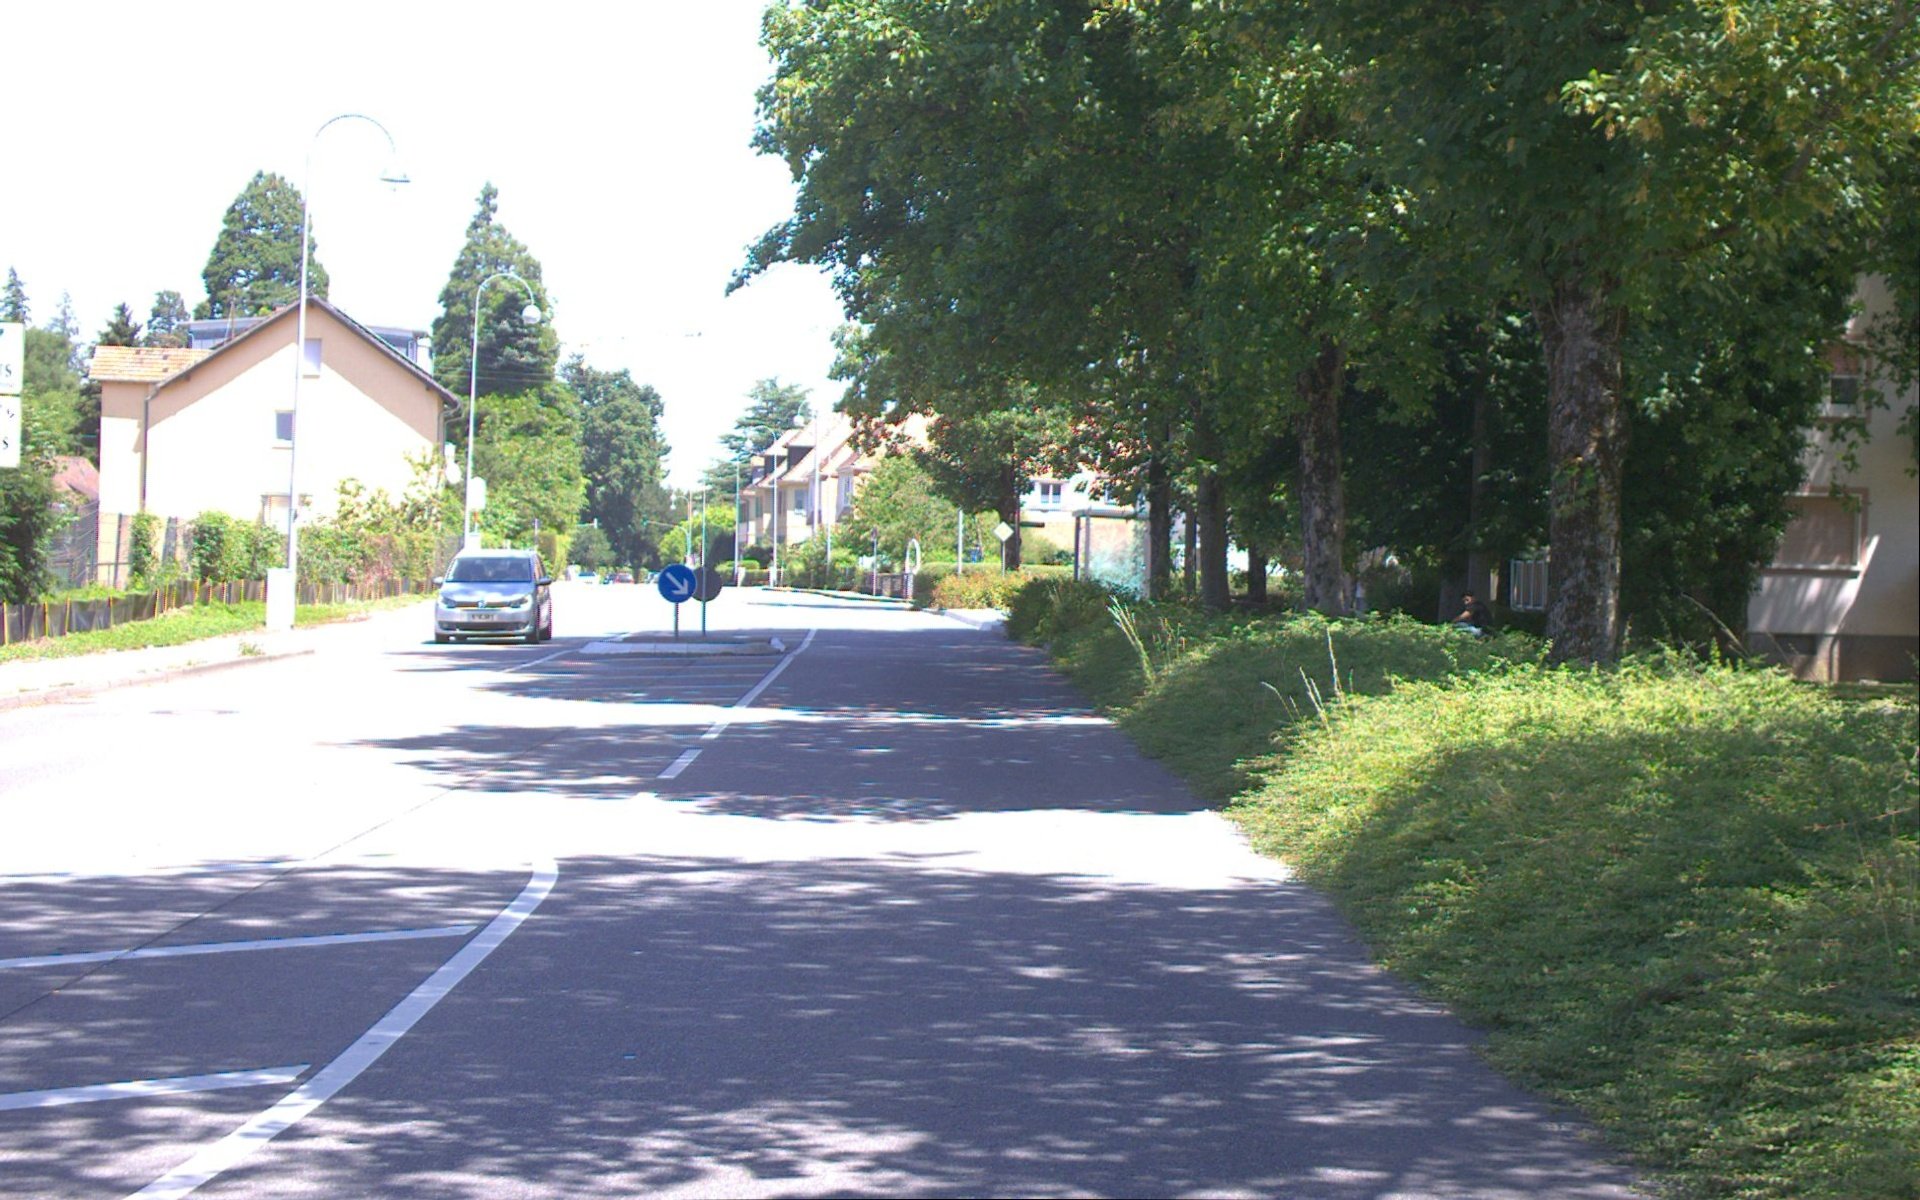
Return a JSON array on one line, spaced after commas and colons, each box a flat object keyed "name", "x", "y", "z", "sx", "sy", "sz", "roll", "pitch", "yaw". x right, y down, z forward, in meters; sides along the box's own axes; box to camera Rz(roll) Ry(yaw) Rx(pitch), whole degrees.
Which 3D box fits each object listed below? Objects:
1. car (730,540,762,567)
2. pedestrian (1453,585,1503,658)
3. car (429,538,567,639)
[{"name": "car", "x": -14.007, "y": -3.009, "z": 224.954, "sx": 1.815, "sy": 1.712, "sz": 4.000, "roll": 1, "pitch": 1, "yaw": 0}, {"name": "pedestrian", "x": 8.379, "y": 0.349, "z": 55.614, "sx": 0.704, "sy": 1.156, "sz": 0.754, "roll": 1, "pitch": 1, "yaw": 3}, {"name": "car", "x": -7.994, "y": -0.221, "z": 59.811, "sx": 1.912, "sy": 1.683, "sz": 4.126, "roll": 1, "pitch": 1, "yaw": -1}]
